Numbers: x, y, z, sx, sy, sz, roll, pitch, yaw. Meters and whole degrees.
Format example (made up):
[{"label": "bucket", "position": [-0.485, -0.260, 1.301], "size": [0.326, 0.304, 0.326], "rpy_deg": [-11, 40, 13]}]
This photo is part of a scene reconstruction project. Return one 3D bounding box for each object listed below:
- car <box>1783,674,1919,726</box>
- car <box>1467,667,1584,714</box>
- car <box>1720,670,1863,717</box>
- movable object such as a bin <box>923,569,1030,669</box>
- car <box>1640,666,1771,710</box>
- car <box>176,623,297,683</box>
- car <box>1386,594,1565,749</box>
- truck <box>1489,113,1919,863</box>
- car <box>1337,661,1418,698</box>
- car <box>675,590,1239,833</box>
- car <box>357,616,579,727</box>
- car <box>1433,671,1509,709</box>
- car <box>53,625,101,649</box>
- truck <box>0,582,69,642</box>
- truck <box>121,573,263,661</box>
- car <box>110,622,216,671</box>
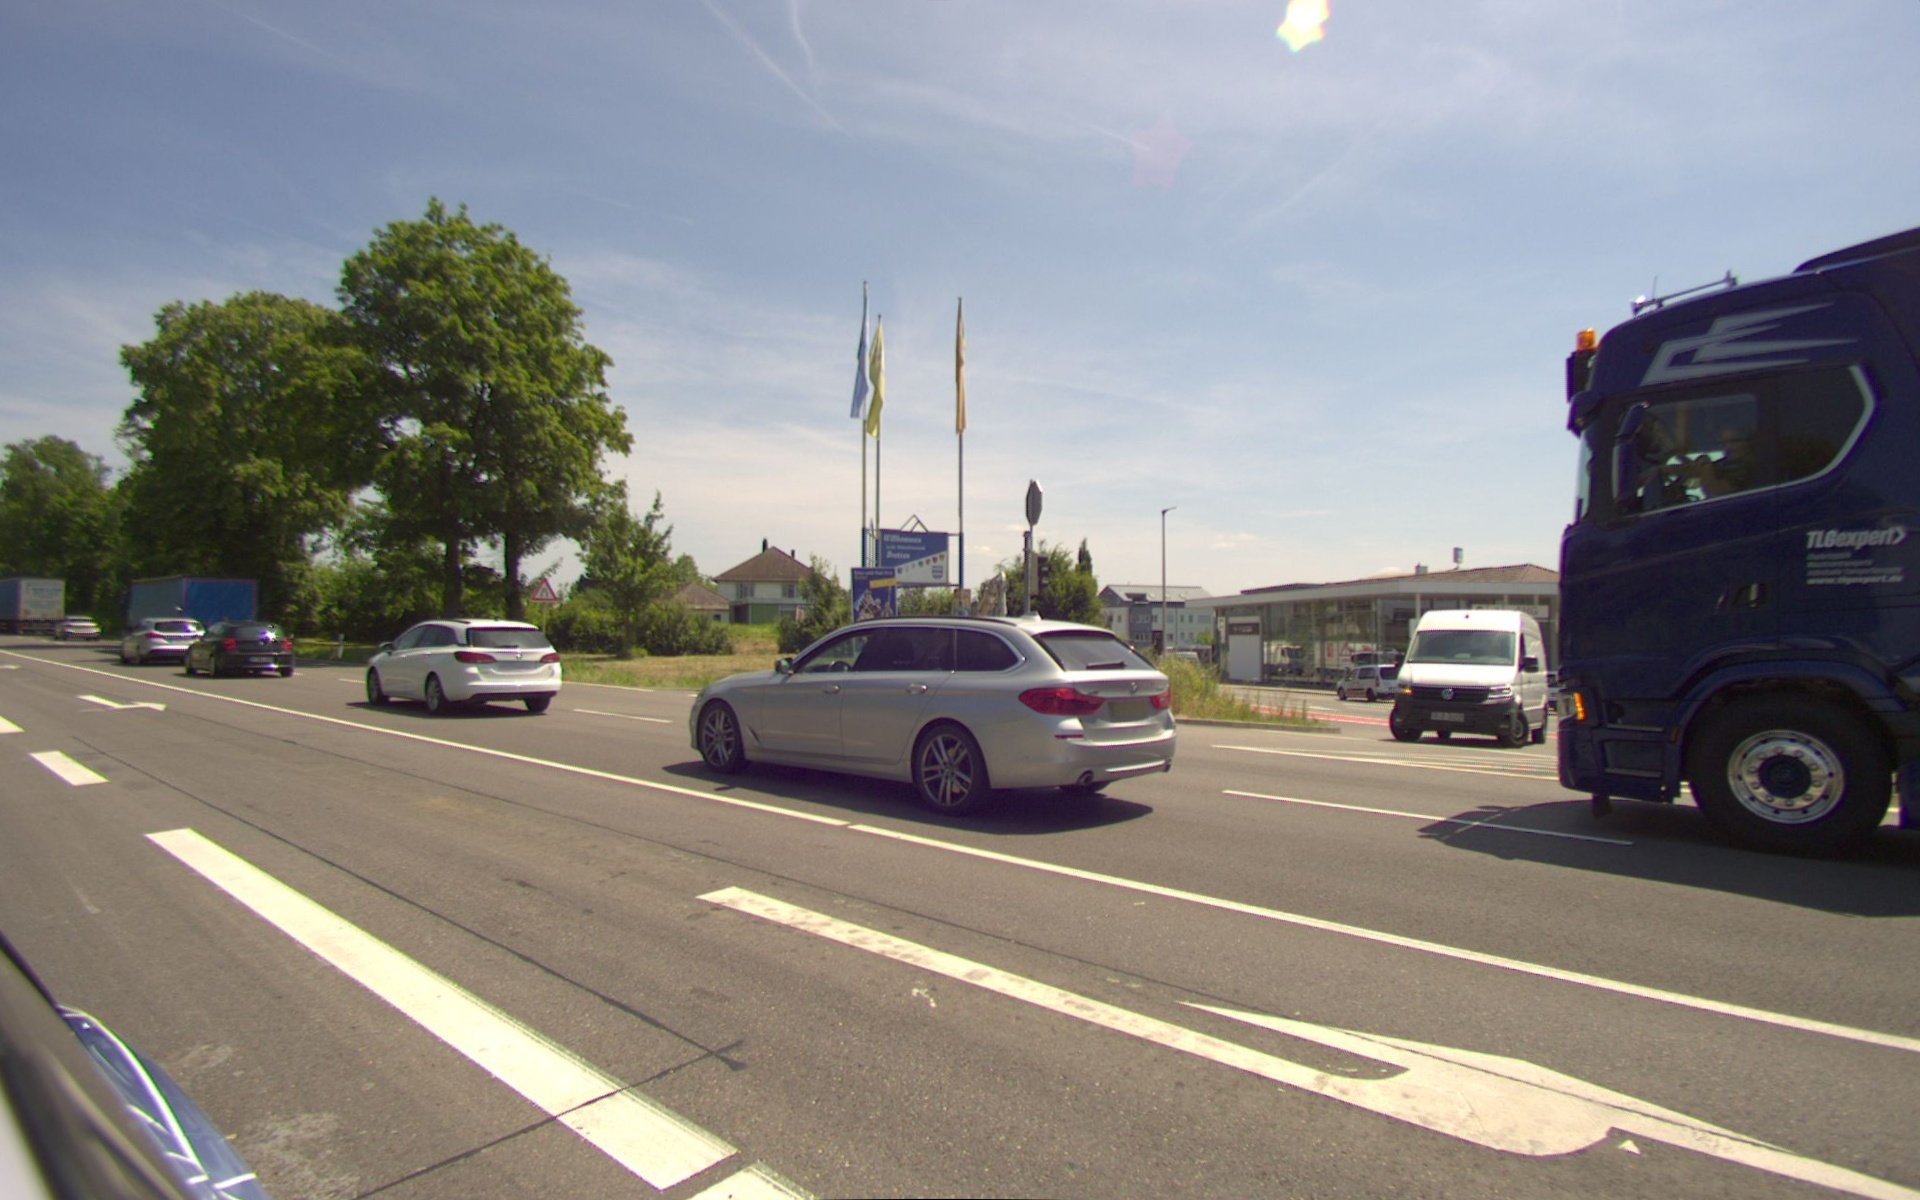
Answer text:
[{"label": "car", "position": [30.220, 3.314, 33.873], "size": [3.936, 1.476, 2.004], "rpy_deg": [0, 0, -8]}, {"label": "car", "position": [22.055, 3.499, 39.676], "size": [1.722, 1.613, 4.206], "rpy_deg": [1, -2, -9]}, {"label": "car", "position": [29.703, 3.311, 36.198], "size": [3.936, 1.476, 1.754], "rpy_deg": [0, 0, -8]}, {"label": "movable object such as a bin", "position": [0.437, 0.742, 37.198], "size": [3.005, 3.324, 6.802], "rpy_deg": [0, -2, -7]}, {"label": "car", "position": [28.639, 3.371, 38.939], "size": [3.936, 1.476, 1.754], "rpy_deg": [0, 0, -8]}, {"label": "car", "position": [-18.609, 1.338, 25.969], "size": [4.015, 1.414, 1.645], "rpy_deg": [-2, -3, 42]}, {"label": "car", "position": [10.056, 1.436, 19.451], "size": [2.190, 2.507, 5.937], "rpy_deg": [-1, -6, 36]}, {"label": "truck", "position": [11.361, -0.745, 2.592], "size": [17.543, 4.382, 3.111], "rpy_deg": [-2, -3, 43]}, {"label": "car", "position": [20.420, 3.864, 49.730], "size": [1.722, 1.613, 4.206], "rpy_deg": [1, -2, -9]}, {"label": "car", "position": [-0.304, 0.764, 8.695], "size": [4.945, 1.520, 1.791], "rpy_deg": [-1, -2, 42]}, {"label": "car", "position": [-8.128, 1.083, 16.543], "size": [4.406, 1.515, 1.721], "rpy_deg": [0, -2, 43]}, {"label": "car", "position": [26.715, 4.681, 52.891], "size": [3.836, 1.626, 1.865], "rpy_deg": [0, 0, -33]}, {"label": "car", "position": [-54.488, 2.247, 62.421], "size": [4.179, 1.439, 1.742], "rpy_deg": [-1, -2, 42]}, {"label": "truck", "position": [-71.454, 0.951, 77.356], "size": [16.568, 4.208, 2.937], "rpy_deg": [-1, -2, 42]}, {"label": "truck", "position": [-33.459, 0.718, 43.806], "size": [11.479, 3.377, 2.816], "rpy_deg": [-1, -1, 42]}, {"label": "car", "position": [-25.099, 1.433, 31.838], "size": [4.260, 1.437, 1.771], "rpy_deg": [-1, -3, 40]}]
